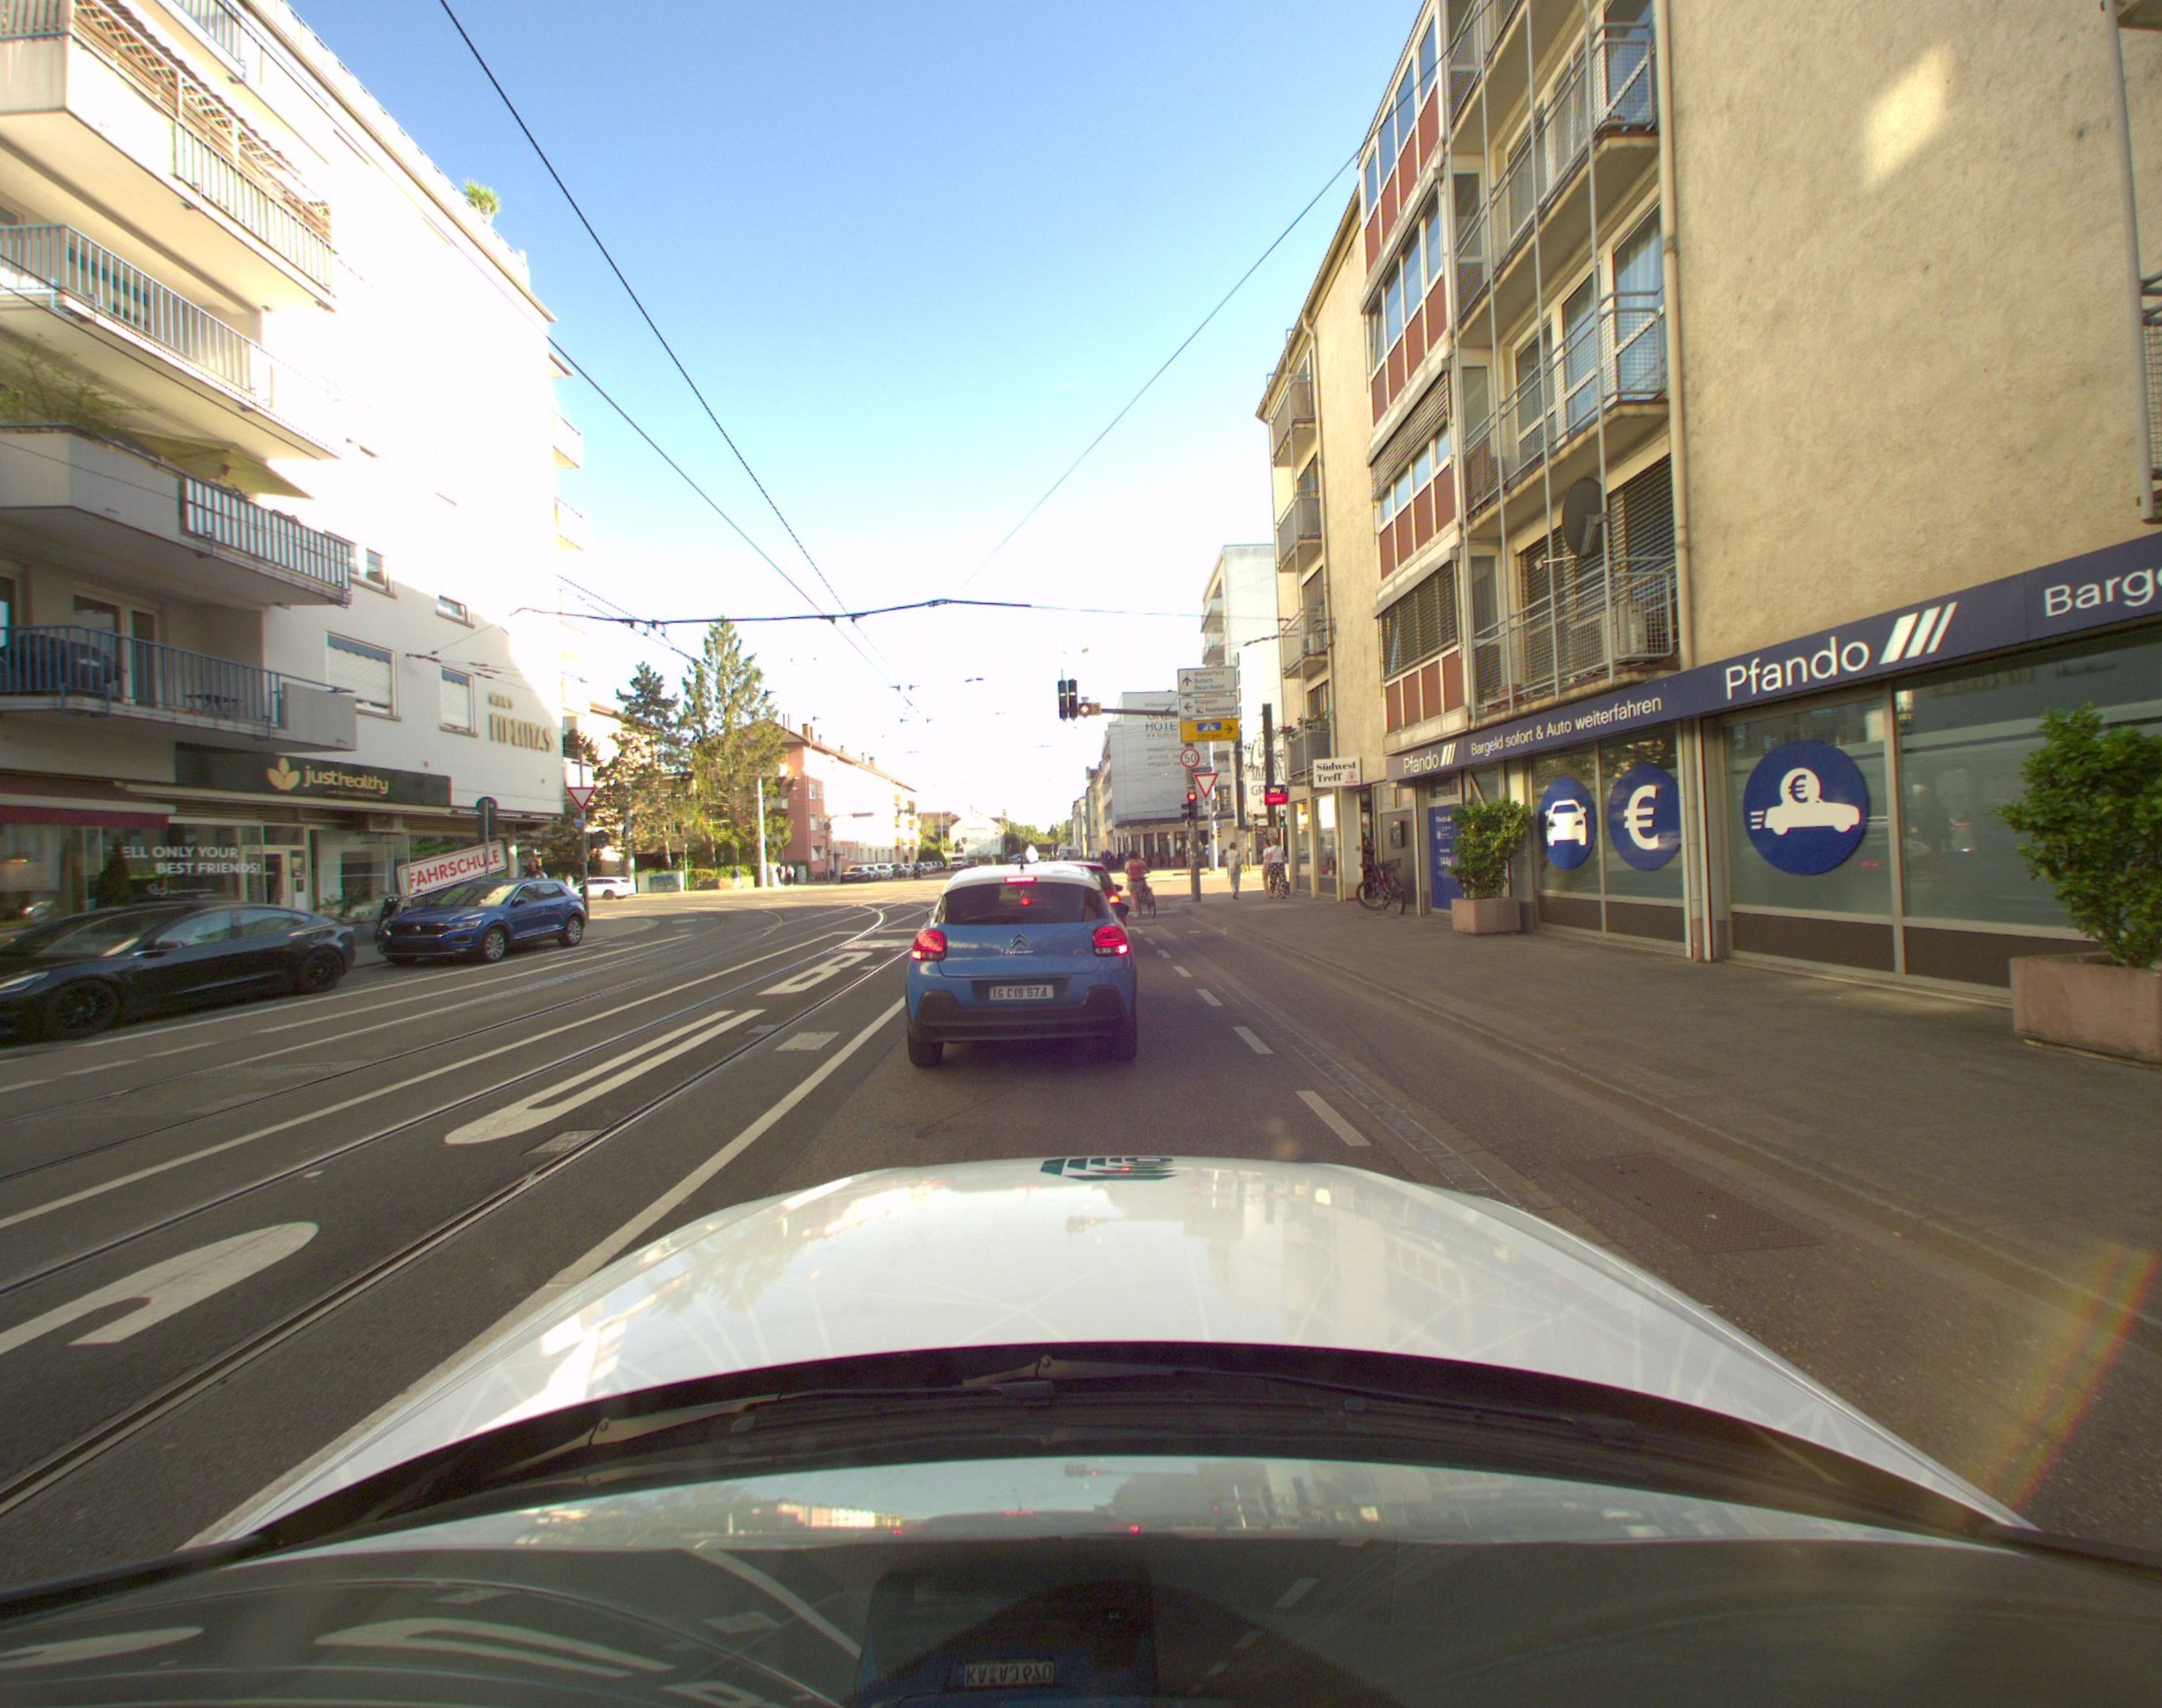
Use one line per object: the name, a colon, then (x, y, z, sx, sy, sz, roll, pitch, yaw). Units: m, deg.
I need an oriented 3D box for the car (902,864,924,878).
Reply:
car: (-20.215, 2.064, 98.342, 1.906, 1.497, 3.997, -3, 0, -2)

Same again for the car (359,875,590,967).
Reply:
car: (-11.870, 1.223, 16.326, 1.740, 1.509, 3.996, -1, -1, -2)

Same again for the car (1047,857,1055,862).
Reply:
car: (-7.298, 1.326, 196.903, 1.752, 1.259, 3.825, -2, 0, -5)

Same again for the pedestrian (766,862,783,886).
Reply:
pedestrian: (-22.894, 1.488, 60.815, 0.840, 1.690, 0.738, -2, 0, 4)

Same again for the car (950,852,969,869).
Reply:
car: (-17.876, 0.947, 119.954, 2.201, 2.251, 4.673, -3, 0, -2)

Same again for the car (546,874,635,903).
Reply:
car: (-30.919, 2.154, 51.450, 4.390, 1.574, 1.848, -3, 0, -12)

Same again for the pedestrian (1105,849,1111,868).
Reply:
pedestrian: (2.308, 0.381, 69.784, 0.490, 1.556, 0.383, -3, 0, -2)

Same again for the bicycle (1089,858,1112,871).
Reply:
bicycle: (1.606, 0.892, 67.188, 1.866, 0.957, 0.702, -3, 0, 3)

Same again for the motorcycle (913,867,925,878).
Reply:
motorcycle: (-13.485, 1.556, 67.772, 0.613, 0.864, 1.671, -2, 0, 2)

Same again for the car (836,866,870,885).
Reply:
car: (-19.428, 1.771, 69.461, 1.907, 1.433, 3.995, -3, 0, -4)

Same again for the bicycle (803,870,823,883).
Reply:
bicycle: (-22.466, 1.867, 68.339, 0.730, 0.952, 2.597, -2, 0, 0)

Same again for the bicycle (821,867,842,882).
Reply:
bicycle: (-22.812, 1.879, 74.401, 0.845, 1.225, 3.304, -2, 0, 0)

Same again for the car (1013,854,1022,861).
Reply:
car: (-14.672, 0.851, 188.062, 2.016, 1.525, 3.997, -3, 0, -2)

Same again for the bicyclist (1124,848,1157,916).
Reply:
bicyclist: (1.484, 0.682, 20.393, 0.723, 1.646, 0.790, -2, 0, 1)

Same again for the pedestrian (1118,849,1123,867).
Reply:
pedestrian: (3.410, 0.352, 70.247, 0.284, 1.556, 0.304, -2, 0, -7)

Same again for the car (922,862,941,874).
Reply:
car: (-20.531, 1.901, 111.764, 1.906, 1.497, 3.997, -3, 0, -2)

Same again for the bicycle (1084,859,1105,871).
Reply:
bicycle: (1.128, 0.916, 68.559, 1.713, 0.957, 0.702, -3, 0, 3)

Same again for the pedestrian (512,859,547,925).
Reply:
pedestrian: (-17.315, 1.194, 25.575, 0.684, 2.013, 0.486, -2, 0, 1)

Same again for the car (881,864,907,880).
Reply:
car: (-19.811, 1.888, 86.615, 1.906, 1.497, 3.997, -3, 0, -2)

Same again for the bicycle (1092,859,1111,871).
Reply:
bicycle: (1.663, 0.885, 66.126, 1.497, 0.957, 0.702, -3, 0, 3)

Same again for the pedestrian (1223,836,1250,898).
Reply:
pedestrian: (4.397, 0.355, 23.077, 0.539, 1.672, 0.624, -4, 1, 0)

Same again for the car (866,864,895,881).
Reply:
car: (-19.586, 1.782, 79.823, 1.906, 1.497, 3.997, -3, 0, -2)

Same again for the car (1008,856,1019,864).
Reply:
car: (-14.065, 1.328, 169.991, 2.016, 1.525, 3.997, -2, 0, -2)

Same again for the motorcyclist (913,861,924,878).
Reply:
motorcyclist: (-13.491, 1.268, 67.618, 0.716, 1.378, 0.912, -2, 0, 2)

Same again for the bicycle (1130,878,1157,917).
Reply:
bicycle: (1.570, 1.082, 20.691, 0.497, 0.864, 1.748, -2, 0, 0)

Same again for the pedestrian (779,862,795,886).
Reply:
pedestrian: (-21.925, 1.477, 60.783, 0.840, 1.690, 0.738, -2, 0, 4)

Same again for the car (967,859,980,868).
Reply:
car: (-19.139, 1.740, 145.176, 2.016, 1.525, 3.997, -2, 0, -2)

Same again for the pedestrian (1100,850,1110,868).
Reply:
pedestrian: (2.147, 0.471, 72.631, 0.648, 1.556, 0.490, -2, 0, -20)

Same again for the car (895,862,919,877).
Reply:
car: (-19.811, 1.755, 92.758, 1.906, 1.497, 3.997, -3, 0, -2)

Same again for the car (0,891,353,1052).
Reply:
car: (-12.011, 1.317, 10.339, 1.694, 1.509, 4.310, -1, -1, -1)

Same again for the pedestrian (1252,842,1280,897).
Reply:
pedestrian: (5.226, 0.424, 23.032, 0.539, 1.507, 0.611, -4, 1, 0)

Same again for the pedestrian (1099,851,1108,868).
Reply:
pedestrian: (2.024, 0.486, 74.439, 0.648, 1.556, 0.490, -2, 0, -20)

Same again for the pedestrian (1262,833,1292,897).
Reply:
pedestrian: (5.286, 0.297, 21.982, 0.539, 1.672, 0.650, -4, 0, 0)

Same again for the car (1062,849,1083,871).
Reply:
car: (-0.723, 0.464, 67.721, 1.727, 1.750, 3.212, -1, 0, -1)

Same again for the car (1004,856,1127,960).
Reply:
car: (-0.159, 0.794, 13.781, 1.732, 1.420, 4.002, -2, 0, 2)

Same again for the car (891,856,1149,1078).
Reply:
car: (-0.545, 0.770, 7.563, 1.740, 1.462, 3.994, -1, 0, -4)

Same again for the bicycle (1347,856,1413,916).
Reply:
bicycle: (5.754, 0.580, 15.748, 0.528, 1.072, 1.810, -2, 0, -1)

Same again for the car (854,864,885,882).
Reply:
car: (-19.523, 1.728, 75.195, 1.906, 1.497, 3.997, -3, 0, -2)

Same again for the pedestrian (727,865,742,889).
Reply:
pedestrian: (-24.659, 1.649, 57.920, 0.854, 1.625, 0.510, -2, 0, -32)

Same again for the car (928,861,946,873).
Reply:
car: (-20.614, 1.882, 116.862, 1.865, 1.574, 3.997, -2, 0, -2)

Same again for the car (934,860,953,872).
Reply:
car: (-20.570, 1.819, 122.291, 2.024, 1.619, 4.509, -3, 0, -1)

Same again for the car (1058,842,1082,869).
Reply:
car: (-1.004, 0.155, 72.649, 1.988, 2.325, 3.998, -1, 0, -1)

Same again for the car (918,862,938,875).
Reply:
car: (-20.029, 1.856, 106.749, 1.906, 1.497, 3.997, -3, 0, -2)
